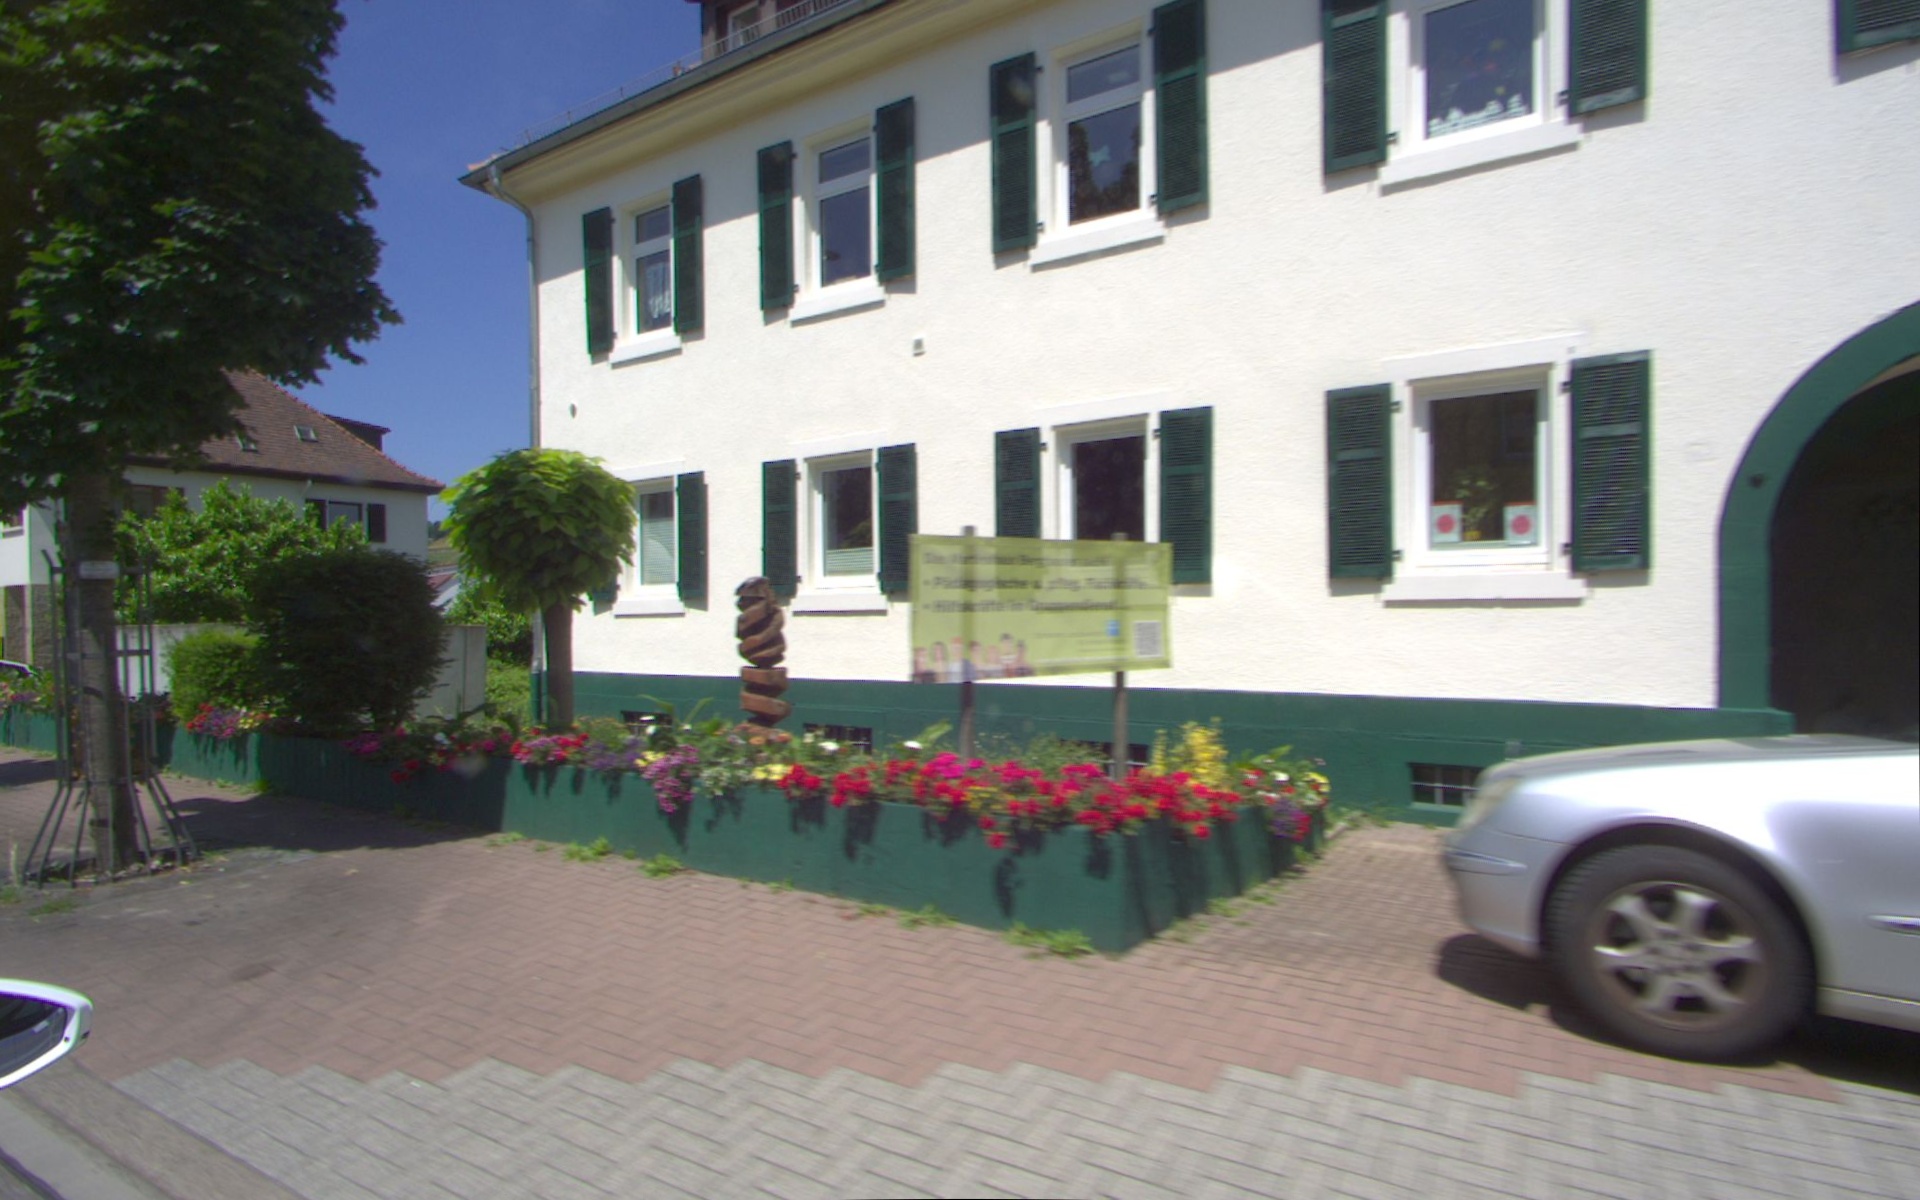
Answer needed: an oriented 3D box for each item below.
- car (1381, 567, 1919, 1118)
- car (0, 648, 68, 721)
[{"bbox_3d":[3.938,0.699,2.751,4.828,1.480,1.809,-2,-6,41],"label":"car"},{"bbox_3d":[-23.732,1.783,23.130,1.880,1.603,4.175,-1,-11,32],"label":"car"}]
